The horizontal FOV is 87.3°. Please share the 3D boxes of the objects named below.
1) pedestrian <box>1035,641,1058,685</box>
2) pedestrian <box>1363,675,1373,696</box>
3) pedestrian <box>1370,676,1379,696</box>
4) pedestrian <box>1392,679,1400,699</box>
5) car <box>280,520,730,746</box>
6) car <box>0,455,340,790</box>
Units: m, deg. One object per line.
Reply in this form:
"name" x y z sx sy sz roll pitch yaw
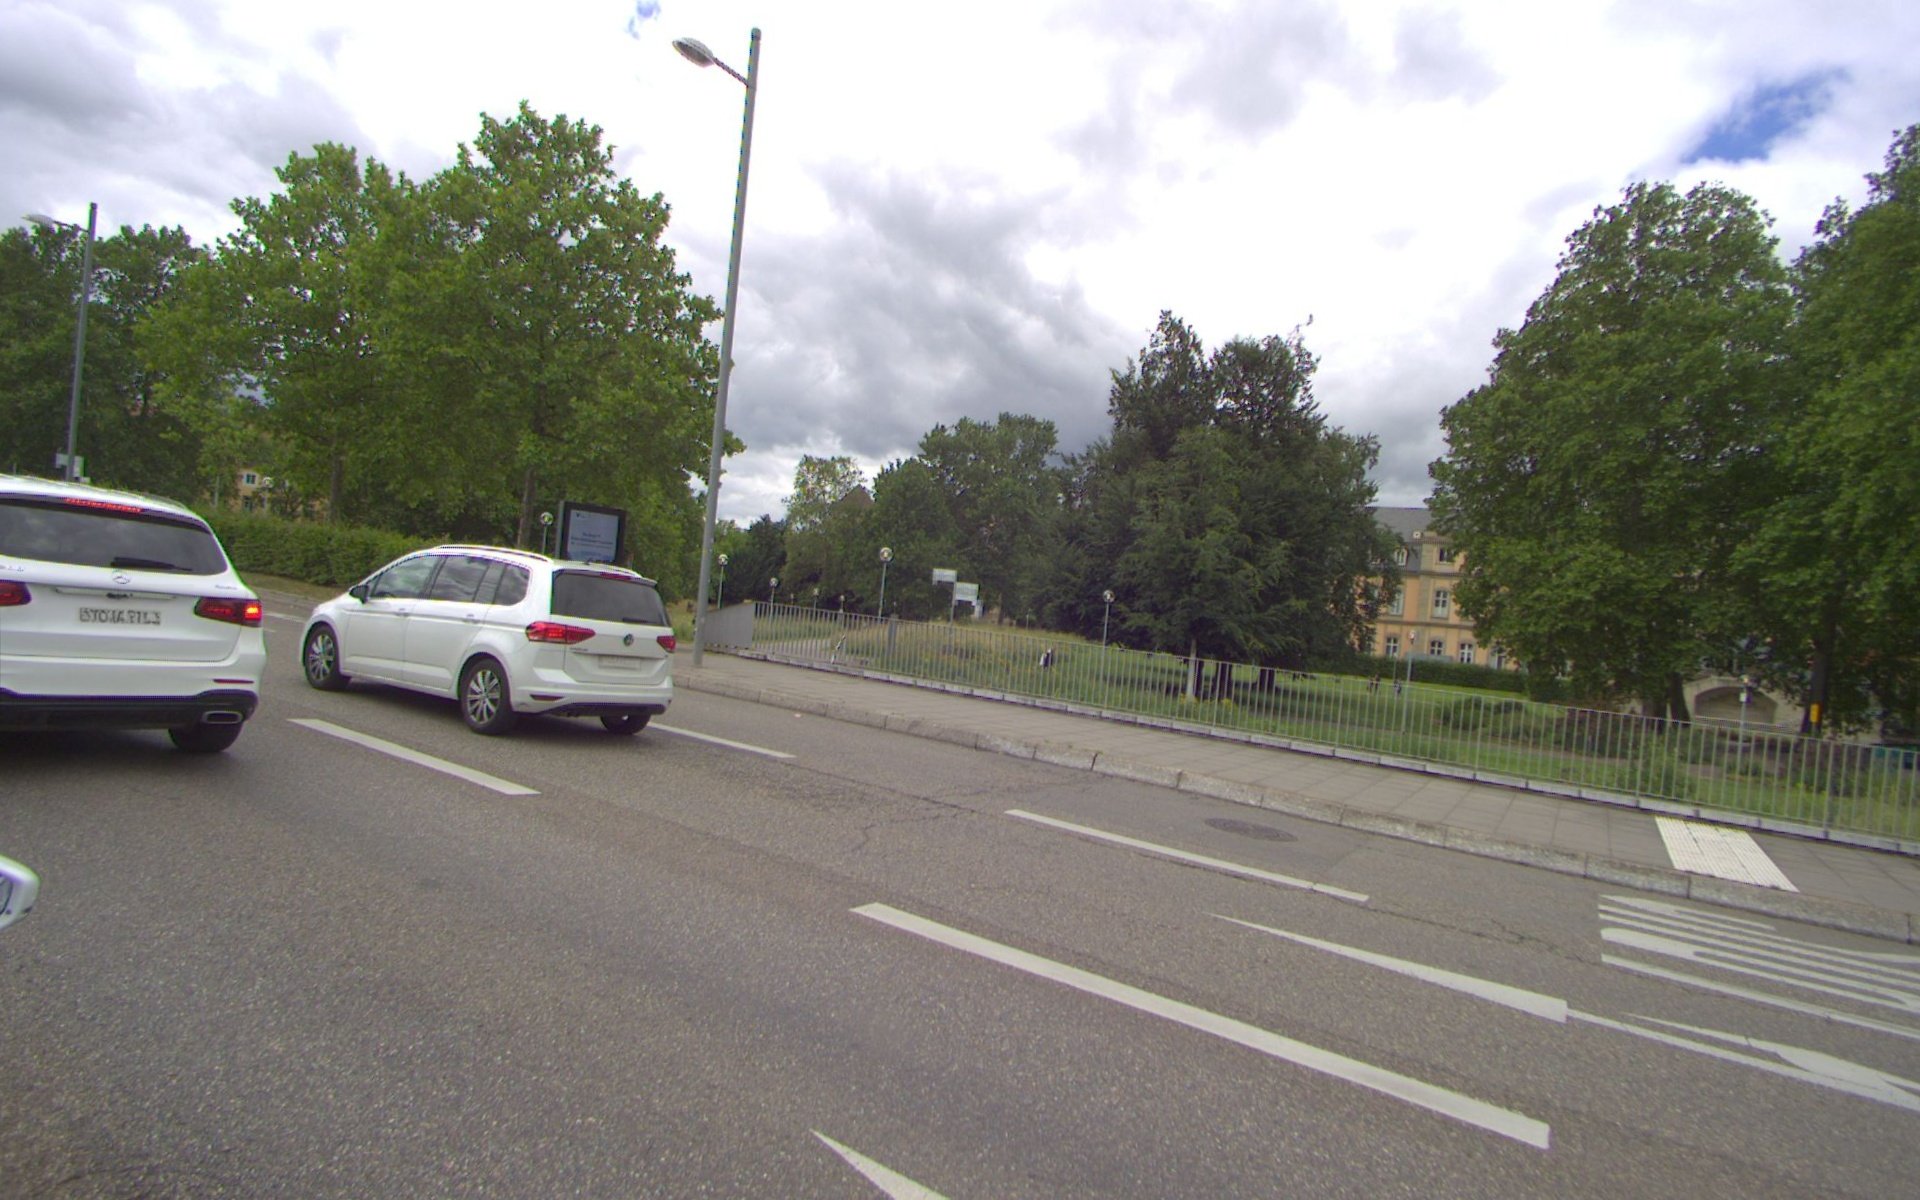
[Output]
"pedestrian" 3.360 2.472 39.182 0.645 1.619 0.684 6 -2 11
"pedestrian" 36.634 7.666 90.326 0.401 1.756 0.465 8 -2 -28
"pedestrian" 37.319 7.763 90.547 0.403 1.756 0.463 8 -2 -41
"pedestrian" 38.801 7.905 89.568 0.460 1.725 0.405 5 -2 32
"car" -4.711 0.273 10.305 4.232 1.659 1.997 6 -1 30
"car" -6.335 -0.068 6.694 4.416 1.673 1.929 8 -1 33
